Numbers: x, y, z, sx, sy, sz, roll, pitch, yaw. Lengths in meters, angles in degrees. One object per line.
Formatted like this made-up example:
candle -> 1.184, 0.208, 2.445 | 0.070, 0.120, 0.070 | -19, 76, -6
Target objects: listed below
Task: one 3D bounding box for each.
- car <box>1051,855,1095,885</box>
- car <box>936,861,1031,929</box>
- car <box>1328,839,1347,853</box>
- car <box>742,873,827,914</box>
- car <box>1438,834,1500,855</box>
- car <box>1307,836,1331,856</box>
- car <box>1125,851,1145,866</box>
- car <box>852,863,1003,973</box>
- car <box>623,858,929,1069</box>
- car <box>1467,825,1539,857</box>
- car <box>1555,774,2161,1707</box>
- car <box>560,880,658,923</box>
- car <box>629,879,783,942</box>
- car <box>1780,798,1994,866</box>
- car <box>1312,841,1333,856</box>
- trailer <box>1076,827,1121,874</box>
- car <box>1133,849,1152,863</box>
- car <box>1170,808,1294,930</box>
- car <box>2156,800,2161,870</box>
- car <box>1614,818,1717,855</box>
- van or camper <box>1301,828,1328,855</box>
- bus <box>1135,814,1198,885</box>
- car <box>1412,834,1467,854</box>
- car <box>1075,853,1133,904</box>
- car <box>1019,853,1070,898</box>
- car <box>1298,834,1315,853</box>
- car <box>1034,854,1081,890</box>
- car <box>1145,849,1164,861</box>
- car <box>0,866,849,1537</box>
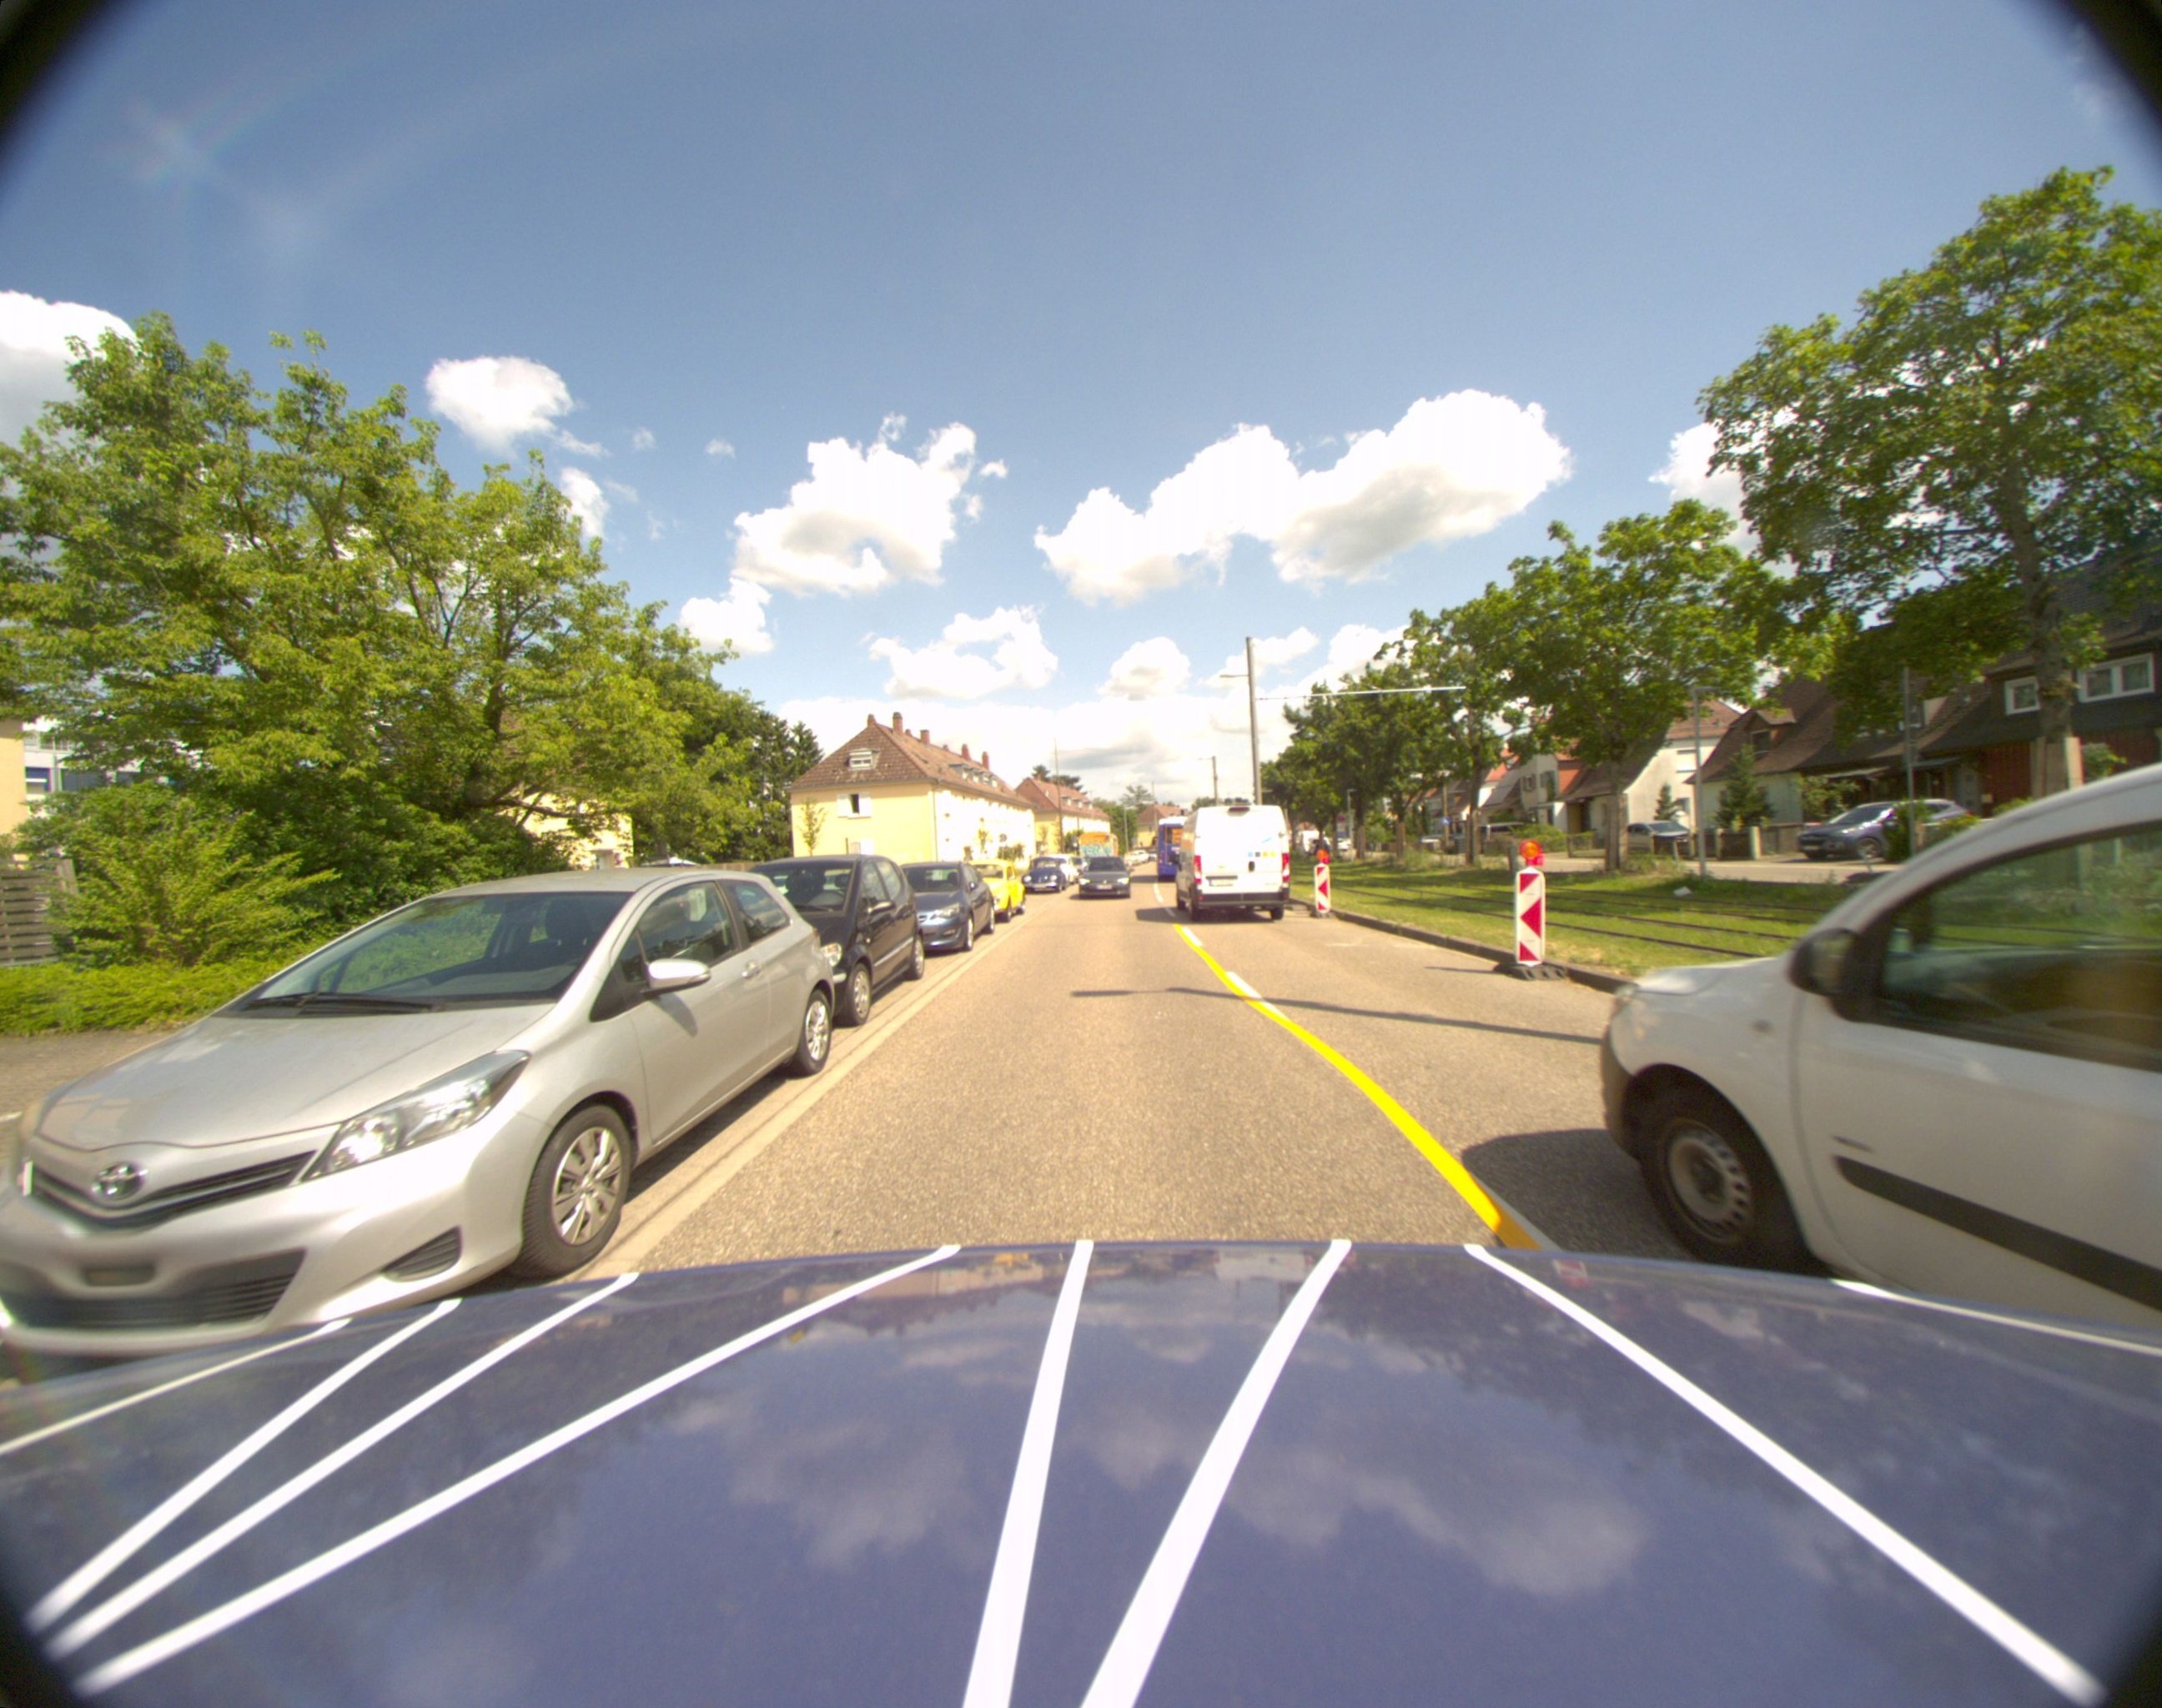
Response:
car -> -0.373, 0.812, 41.460 | 1.710, 1.441, 4.837 | -3, 0, 7
car -> -2.280, 0.918, 18.718 | 1.640, 1.473, 3.932 | 0, 0, 3
car -> 33.167, -1.059, 98.442 | 1.884, 1.758, 5.088 | -3, 0, 14
car -> -11.864, 1.542, 30.680 | 1.640, 1.366, 4.088 | -3, 0, 2
car -> 30.348, -0.723, 59.496 | 3.891, 1.448, 1.736 | -3, 0, 7
car -> 25.986, -0.868, 83.038 | 1.997, 2.002, 4.908 | -3, 0, 13
car -> 5.645, 0.452, 79.033 | 1.465, 1.493, 4.112 | -2, 1, 11
car -> -2.485, 0.972, 13.276 | 1.640, 1.473, 4.124 | -3, 0, 1
car -> -2.855, 0.899, 8.112 | 1.640, 1.593, 3.931 | -3, 0, -1
car -> 29.047, -0.902, 52.347 | 3.897, 1.886, 1.941 | -5, 1, -12
car -> 2.866, 0.690, 0.953 | 1.739, 1.763, 4.308 | -3, 0, -1
car -> -18.788, 1.857, 30.454 | 1.641, 1.366, 4.085 | -5, 0, -7
car -> -10.154, 1.481, 20.964 | 1.639, 1.347, 4.090 | -3, 0, 10
car -> 25.489, -0.665, 24.160 | 4.481, 1.825, 2.065 | -3, 1, 2
car -> 24.533, -0.572, 77.310 | 1.855, 1.379, 4.813 | -3, 0, 17
trailer -> 1.411, -0.273, 57.075 | 2.695, 3.208, 5.084 | -3, 0, 8
car -> 6.965, 0.230, 85.356 | 1.530, 1.472, 3.812 | -2, 1, 13
car -> 3.458, 0.291, 18.569 | 2.107, 2.429, 5.572 | -3, 0, 3
car -> 25.488, -0.516, 15.411 | 4.481, 1.515, 1.926 | -3, 0, 2
car -> 26.760, -0.768, 34.950 | 1.732, 1.509, 4.045 | -3, 0, 3
van or camper -> 27.593, -1.513, 89.877 | 2.379, 2.953, 7.302 | -2, 1, 12
bus -> 4.586, -0.236, 42.946 | 2.642, 3.392, 12.250 | -1, 0, 3
car -> 32.063, -0.867, 68.041 | 3.995, 1.521, 1.874 | -4, 0, 7
car -> 0.898, 0.777, 26.656 | 1.742, 1.513, 4.702 | -1, 1, 5
car -> -1.423, 0.839, 31.272 | 1.552, 1.631, 4.247 | -3, 0, 4
car -> 32.453, -1.551, 109.468 | 2.156, 2.653, 4.921 | -3, 1, 15
car -> -1.056, 0.825, 36.405 | 1.580, 1.504, 4.461 | -3, 0, 7
car -> 9.382, 0.118, 96.284 | 1.752, 1.489, 4.389 | -2, 0, 13
car -> -2.724, 0.938, 3.939 | 1.640, 1.593, 4.029 | -3, 0, 1
